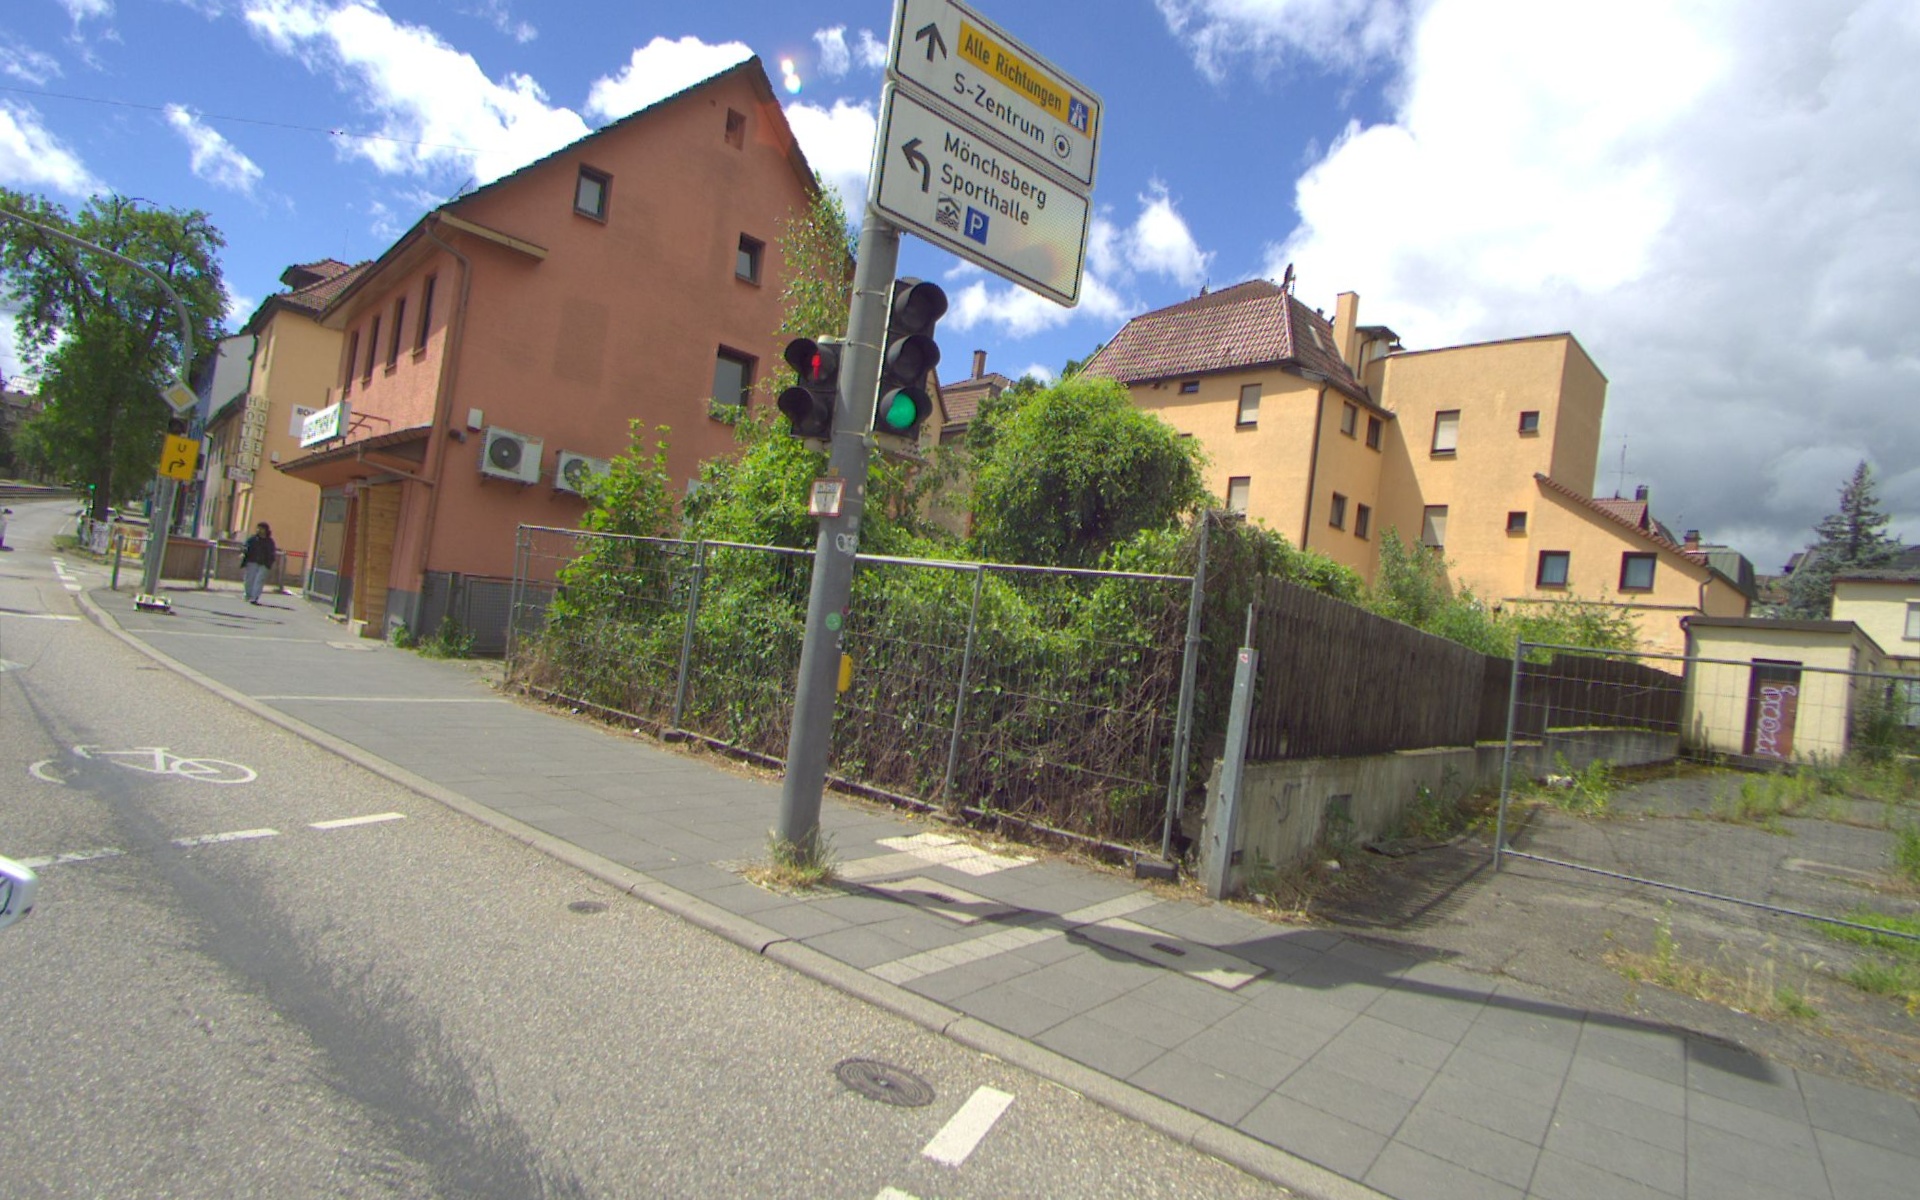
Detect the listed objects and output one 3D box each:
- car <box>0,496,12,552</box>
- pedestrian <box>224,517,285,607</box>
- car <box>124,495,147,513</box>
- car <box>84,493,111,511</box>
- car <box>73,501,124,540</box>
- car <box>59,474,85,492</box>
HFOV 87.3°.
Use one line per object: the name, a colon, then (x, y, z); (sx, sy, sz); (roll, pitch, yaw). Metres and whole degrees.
car: (-28.309, -2.371, 28.559); (1.813, 1.484, 3.951); (13, -4, -43)
pedestrian: (-14.167, -0.769, 20.204); (0.761, 1.663, 0.768); (7, 1, -42)
car: (-106.018, -12.367, 129.397); (2.115, 1.880, 3.696); (9, -1, -39)
car: (-89.915, -10.208, 104.912); (1.810, 1.484, 3.957); (12, -4, -39)
car: (-43.651, -4.014, 51.018); (1.780, 1.615, 3.956); (8, -2, -40)
car: (-131.843, -17.318, 149.383); (1.980, 2.037, 3.968); (7, -1, -32)
